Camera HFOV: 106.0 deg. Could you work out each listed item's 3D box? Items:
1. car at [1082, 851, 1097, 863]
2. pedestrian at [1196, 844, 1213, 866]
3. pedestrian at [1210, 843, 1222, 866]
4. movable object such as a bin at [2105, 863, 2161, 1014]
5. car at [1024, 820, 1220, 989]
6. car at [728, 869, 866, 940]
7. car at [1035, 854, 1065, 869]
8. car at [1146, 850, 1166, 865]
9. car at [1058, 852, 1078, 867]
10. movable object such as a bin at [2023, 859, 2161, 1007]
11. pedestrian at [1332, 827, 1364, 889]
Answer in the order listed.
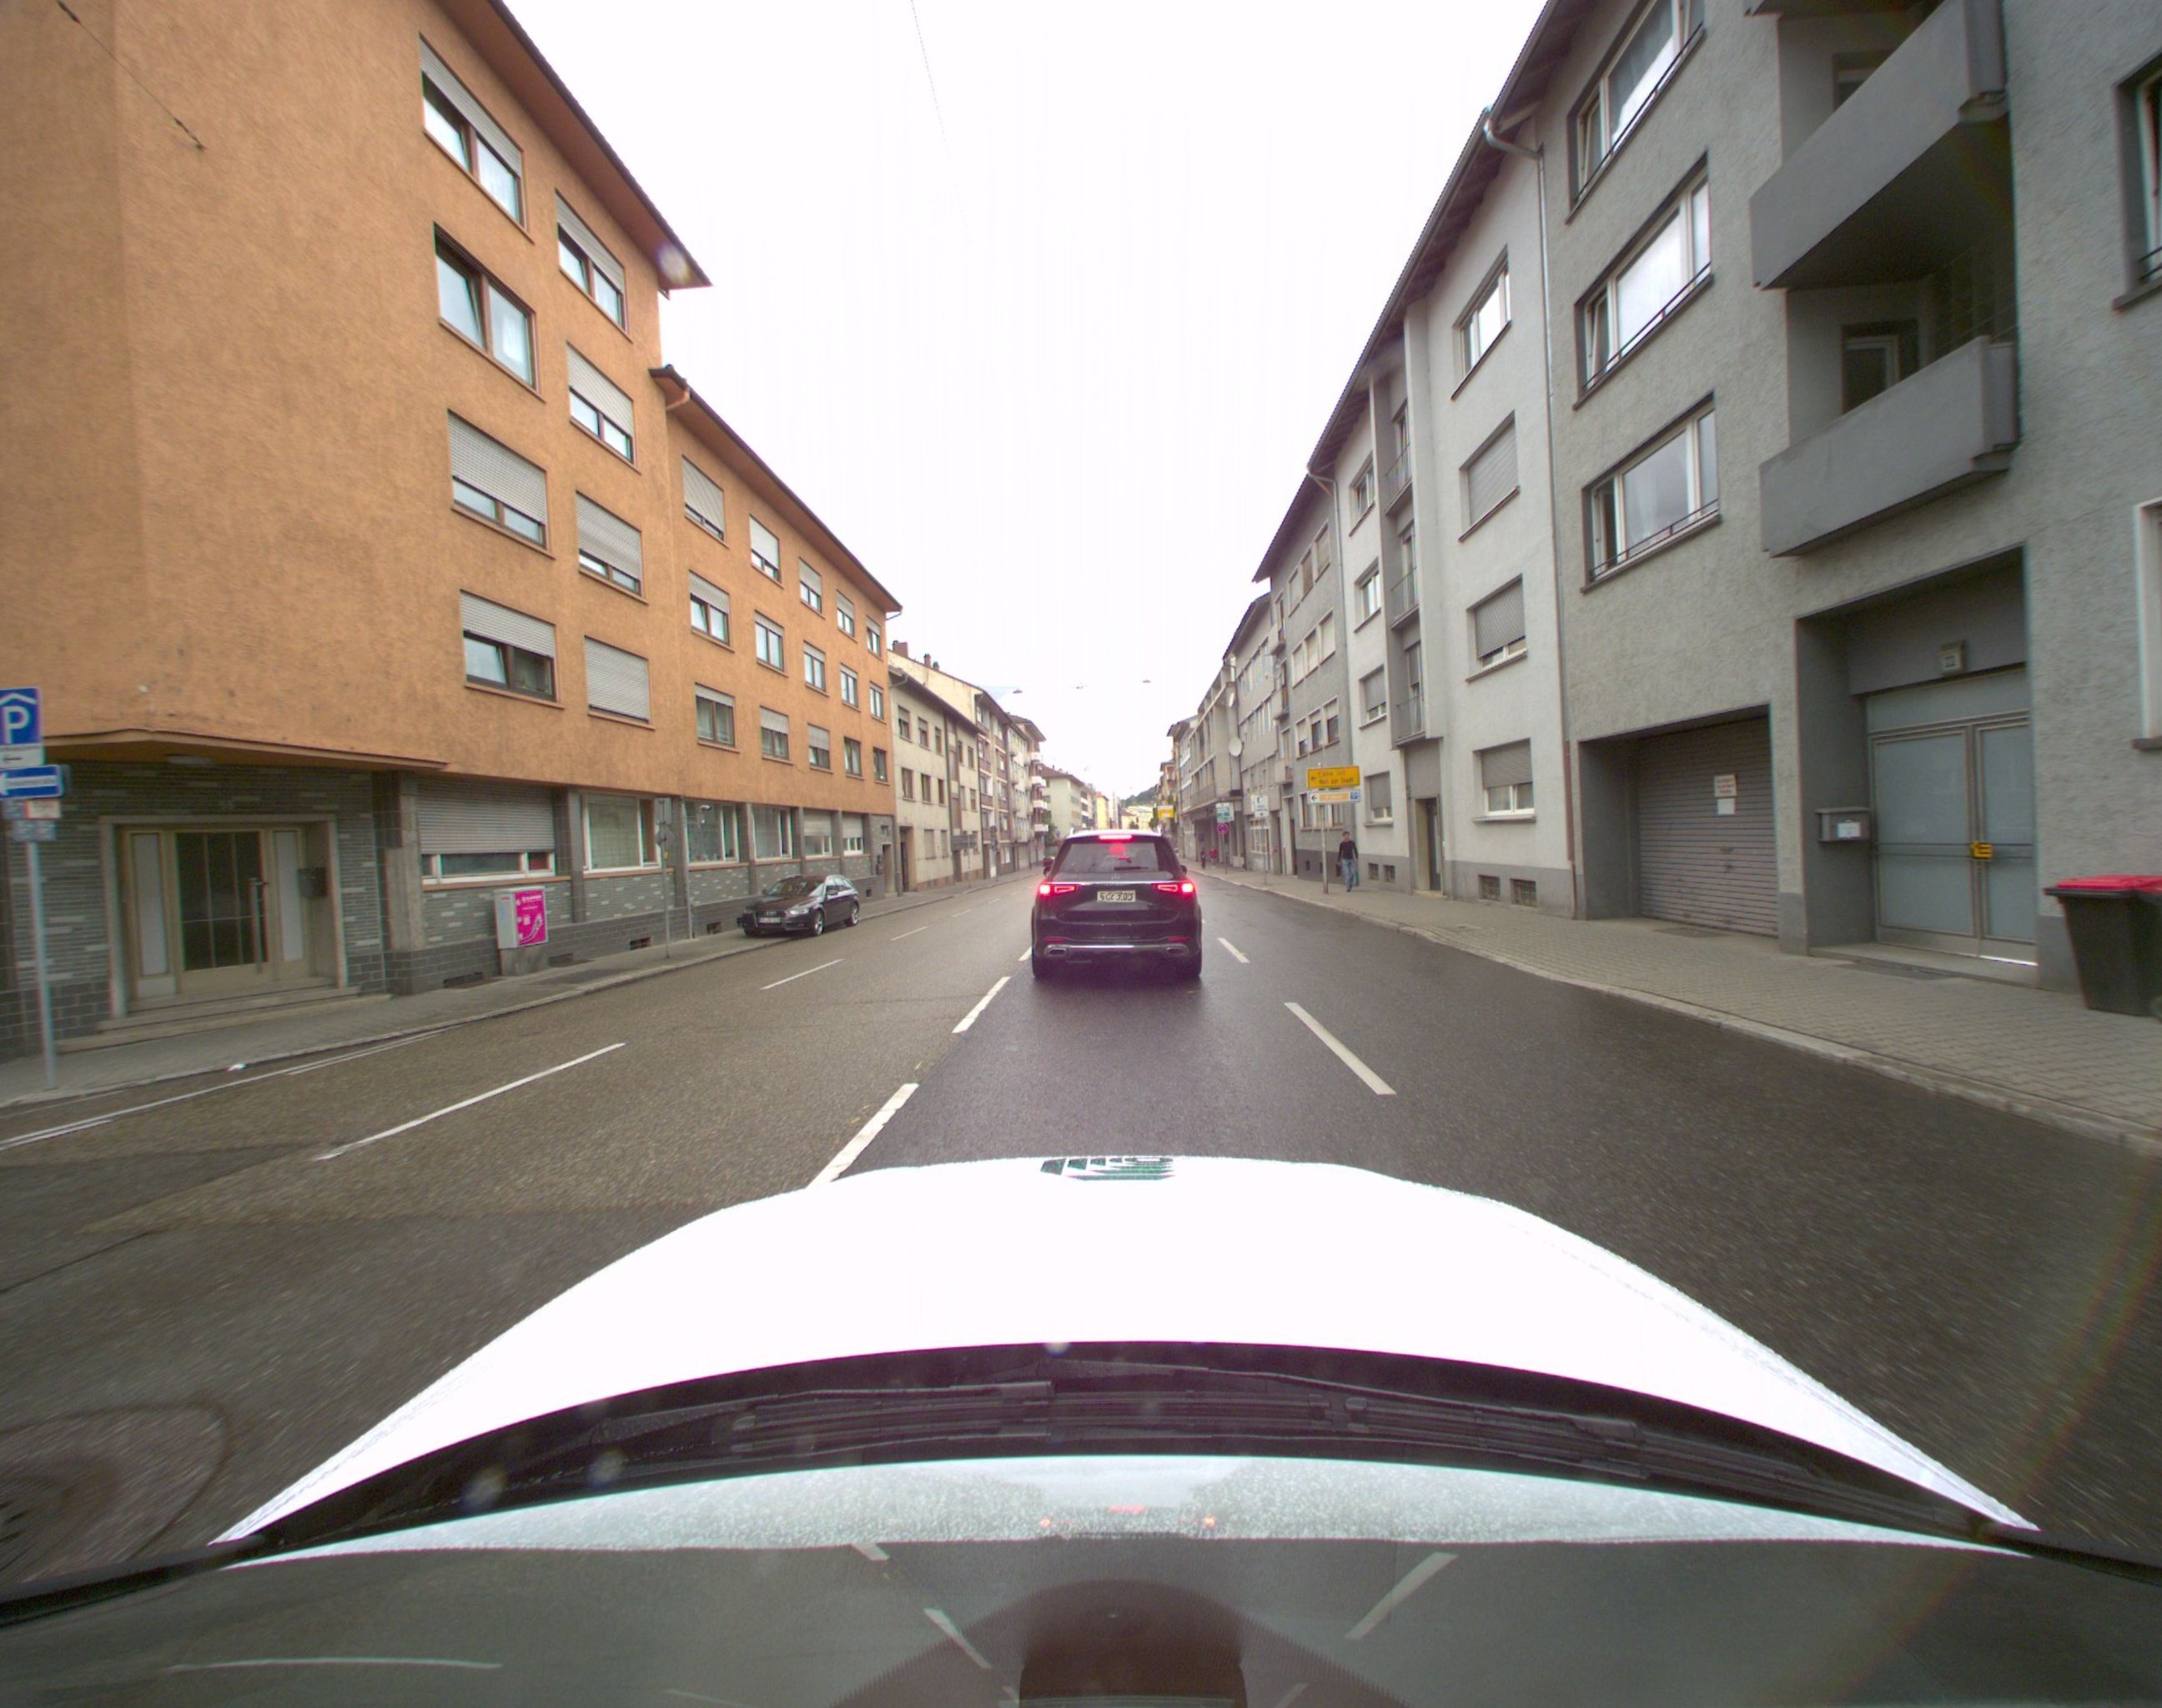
[{"bbox_3d":[1.156,0.374,107.175,1.884,1.458,4.551,-2,1,2],"label":"car"},{"bbox_3d":[8.875,0.087,58.682,0.824,1.565,0.892,-2,0,-24],"label":"pedestrian"},{"bbox_3d":[9.705,0.026,58.570,0.817,1.565,0.901,-2,0,5],"label":"pedestrian"},{"bbox_3d":[7.339,0.556,5.330,0.471,0.962,0.565,-6,0,4],"label":"movable object such as a bin"},{"bbox_3d":[0.508,0.512,11.103,2.068,1.765,4.613,-2,1,2],"label":"car"},{"bbox_3d":[-7.234,1.226,21.286,1.884,1.458,4.550,-2,1,1],"label":"car"},{"bbox_3d":[-4.449,1.075,117.476,3.958,2.013,2.008,-2,0,14],"label":"car"},{"bbox_3d":[7.775,0.327,84.767,1.728,1.388,4.585,-2,1,2],"label":"car"},{"bbox_3d":[-1.344,0.563,85.657,1.884,1.458,4.550,-2,1,1],"label":"car"},{"bbox_3d":[7.391,0.548,5.866,0.560,0.962,0.475,-6,0,5],"label":"movable object such as a bin"},{"bbox_3d":[7.866,0.107,24.018,0.652,1.752,0.743,-5,0,7],"label":"pedestrian"}]
